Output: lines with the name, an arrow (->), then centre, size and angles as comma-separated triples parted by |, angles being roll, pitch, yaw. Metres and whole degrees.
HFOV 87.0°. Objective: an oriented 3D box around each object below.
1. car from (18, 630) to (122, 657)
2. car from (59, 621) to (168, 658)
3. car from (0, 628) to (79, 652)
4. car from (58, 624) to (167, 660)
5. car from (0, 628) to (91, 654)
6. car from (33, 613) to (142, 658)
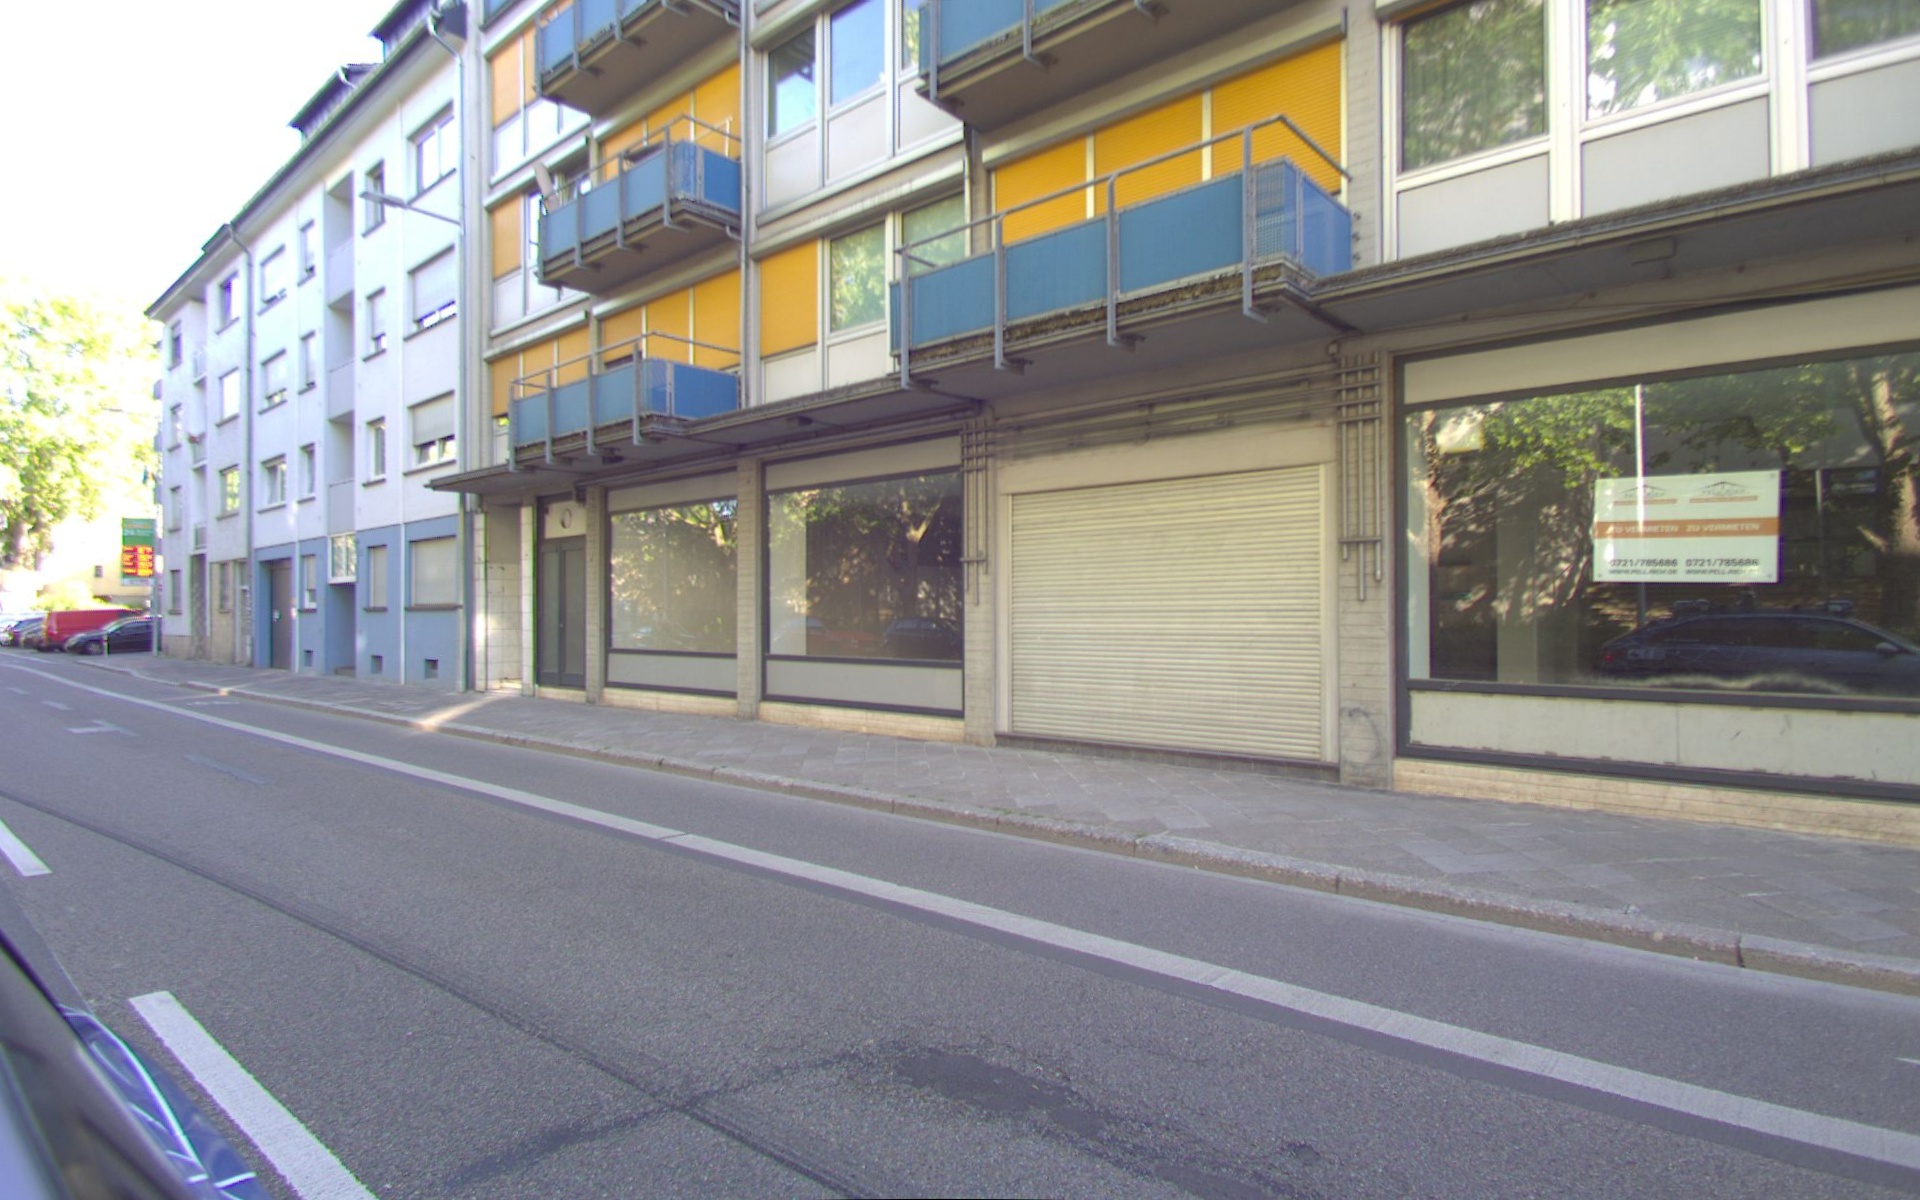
car -> -42.816, 2.069, 48.734 | 1.345, 1.137, 3.638 | -1, 0, 43
car -> -38.194, 1.764, 45.719 | 1.490, 1.523, 3.638 | -1, 0, 43
car -> -52.262, 2.244, 57.500 | 1.345, 1.254, 3.228 | -1, 0, 43
car -> -36.678, 1.806, 43.839 | 1.490, 1.398, 3.462 | -1, 0, 43
car -> -50.448, 2.237, 55.871 | 1.345, 1.254, 3.638 | -1, 0, 43
car -> -40.653, 1.643, 47.219 | 1.488, 1.923, 3.642 | -4, -2, 39
